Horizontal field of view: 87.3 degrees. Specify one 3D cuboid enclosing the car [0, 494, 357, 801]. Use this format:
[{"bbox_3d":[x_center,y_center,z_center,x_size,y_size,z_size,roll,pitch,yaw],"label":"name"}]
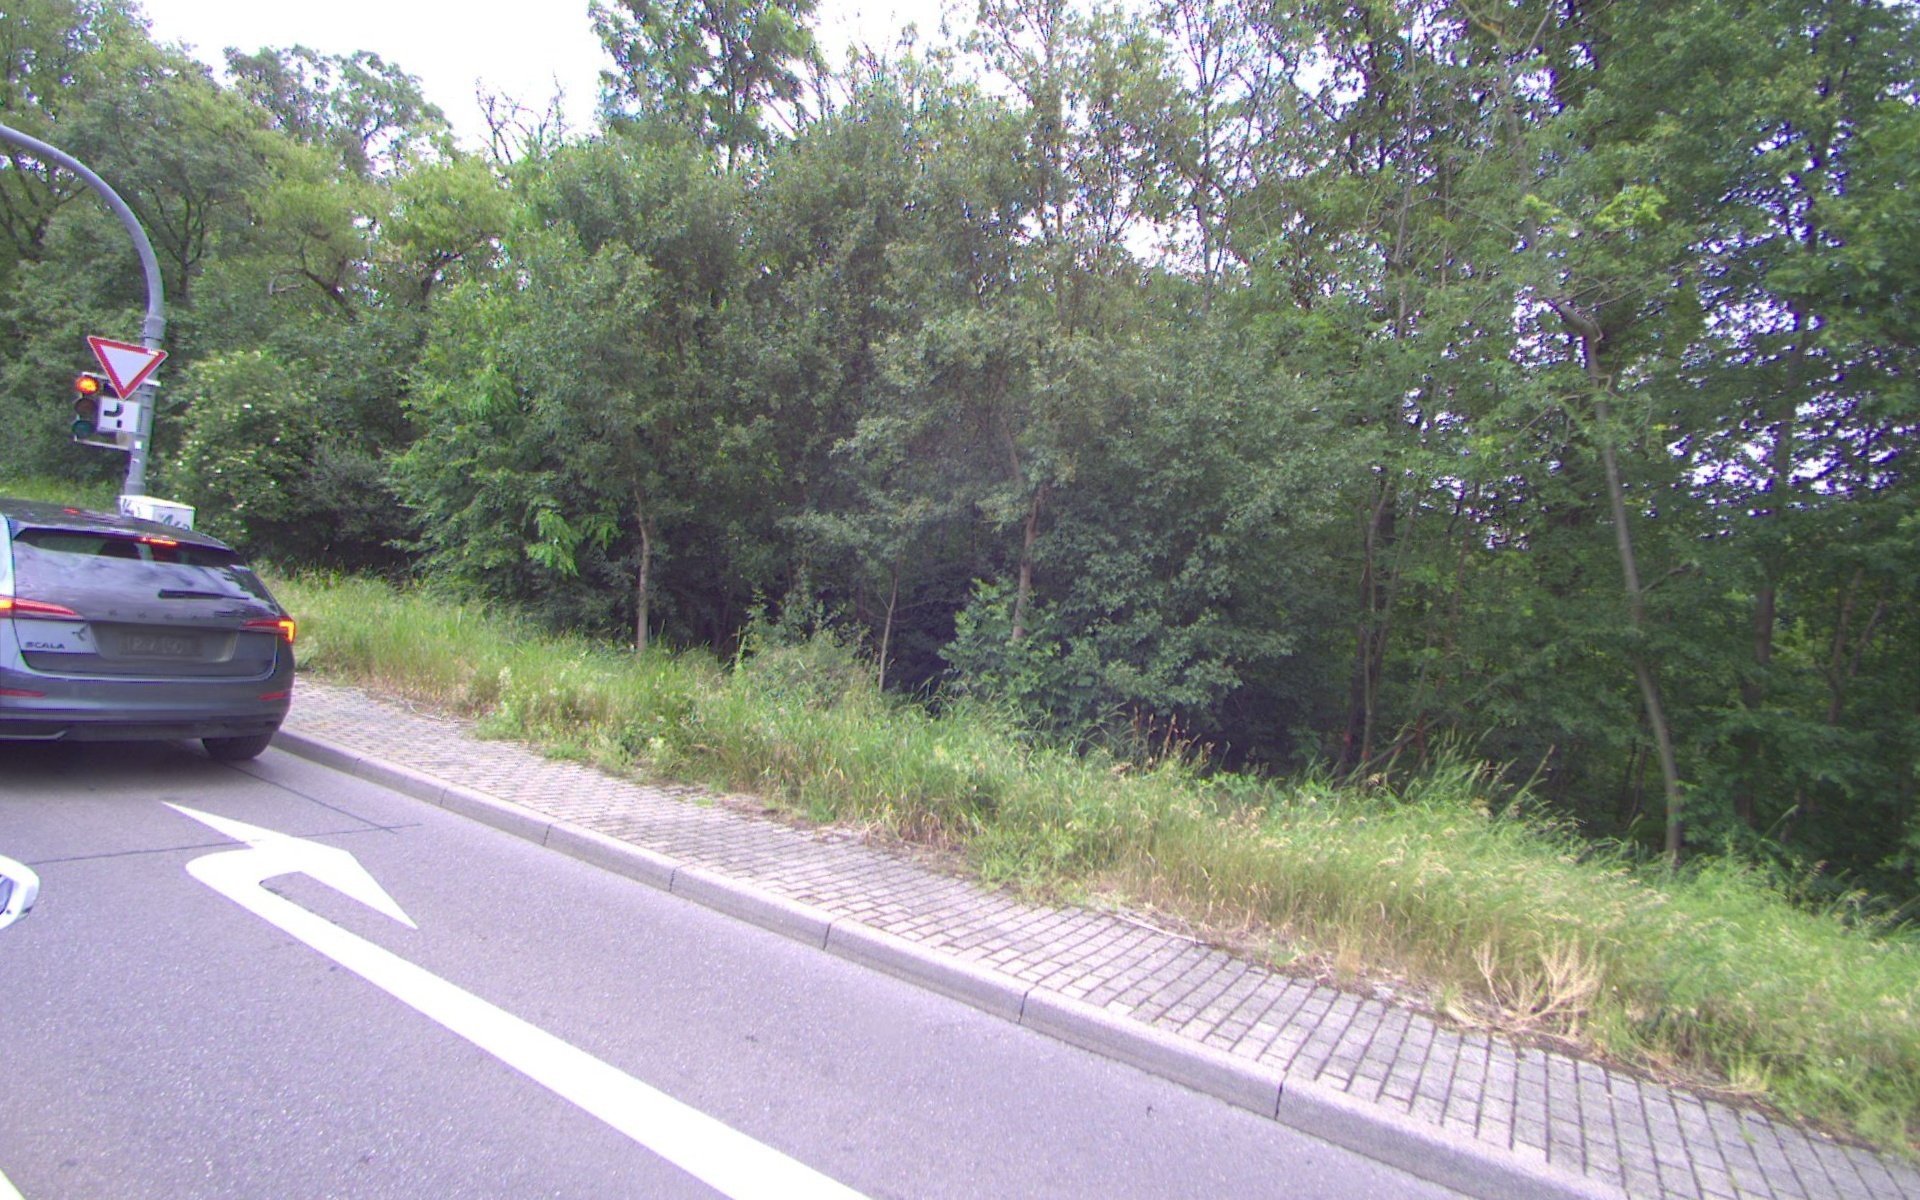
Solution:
[{"bbox_3d":[-5.936,0.097,6.442,3.933,1.468,1.796,7,-1,31],"label":"car"}]
